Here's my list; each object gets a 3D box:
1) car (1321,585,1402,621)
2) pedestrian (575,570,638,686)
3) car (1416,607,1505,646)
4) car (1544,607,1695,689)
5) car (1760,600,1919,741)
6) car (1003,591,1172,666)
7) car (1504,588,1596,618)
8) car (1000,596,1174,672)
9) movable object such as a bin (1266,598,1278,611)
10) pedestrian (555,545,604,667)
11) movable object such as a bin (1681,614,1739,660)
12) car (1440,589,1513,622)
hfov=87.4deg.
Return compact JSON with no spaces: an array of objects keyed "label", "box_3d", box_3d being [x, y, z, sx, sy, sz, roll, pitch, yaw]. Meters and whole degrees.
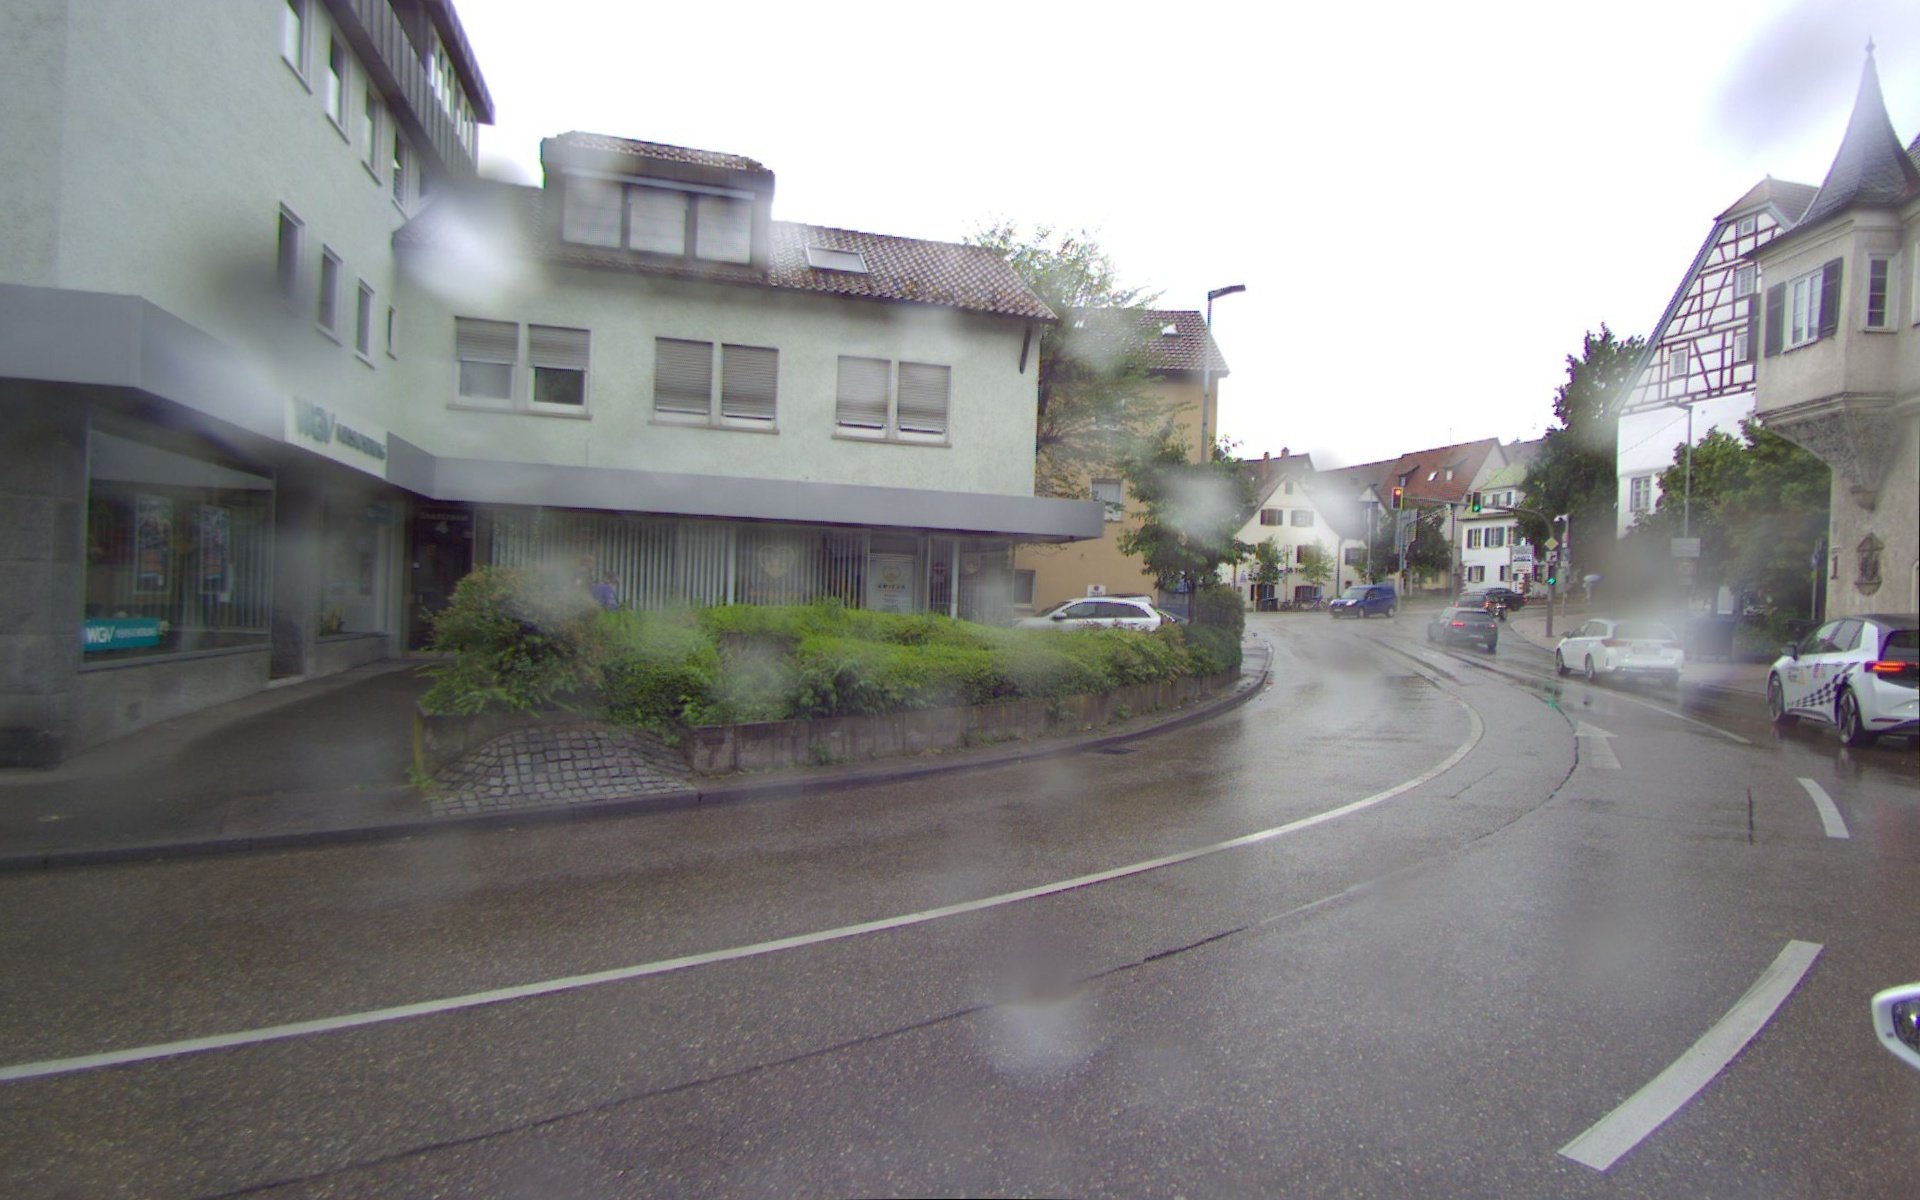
[{"label":"car","box_3d":[22.500,0.157,56.260,4.329,1.907,1.982,1,1,-32]},{"label":"pedestrian","box_3d":[-5.318,0.407,15.118,0.850,1.694,0.615,1,1,-20]},{"label":"car","box_3d":[18.873,0.978,38.064,1.959,1.319,4.003,2,-1,11]},{"label":"car","box_3d":[15.550,1.051,23.943,1.853,1.617,4.326,2,1,18]},{"label":"car","box_3d":[11.585,0.760,12.398,1.828,1.492,3.995,0,0,26]},{"label":"car","box_3d":[3.855,0.841,30.920,4.838,1.850,1.962,-4,2,-1]},{"label":"car","box_3d":[35.542,0.187,60.584,4.391,1.612,2.000,2,0,0]},{"label":"car","box_3d":[2.905,0.768,23.424,3.579,1.651,1.997,1,0,-9]},{"label":"movable object such as a bin","box_3d":[23.121,0.318,74.421,0.578,0.914,0.582,1,2,-14]},{"label":"pedestrian","box_3d":[-5.883,0.087,15.554,0.663,1.844,0.614,1,1,-21]},{"label":"movable object such as a bin","box_3d":[22.787,1.106,30.553,1.136,1.330,1.186,2,0,23]},{"label":"car","box_3d":[25.837,0.292,50.235,3.390,1.544,1.576,1,1,-29]}]
